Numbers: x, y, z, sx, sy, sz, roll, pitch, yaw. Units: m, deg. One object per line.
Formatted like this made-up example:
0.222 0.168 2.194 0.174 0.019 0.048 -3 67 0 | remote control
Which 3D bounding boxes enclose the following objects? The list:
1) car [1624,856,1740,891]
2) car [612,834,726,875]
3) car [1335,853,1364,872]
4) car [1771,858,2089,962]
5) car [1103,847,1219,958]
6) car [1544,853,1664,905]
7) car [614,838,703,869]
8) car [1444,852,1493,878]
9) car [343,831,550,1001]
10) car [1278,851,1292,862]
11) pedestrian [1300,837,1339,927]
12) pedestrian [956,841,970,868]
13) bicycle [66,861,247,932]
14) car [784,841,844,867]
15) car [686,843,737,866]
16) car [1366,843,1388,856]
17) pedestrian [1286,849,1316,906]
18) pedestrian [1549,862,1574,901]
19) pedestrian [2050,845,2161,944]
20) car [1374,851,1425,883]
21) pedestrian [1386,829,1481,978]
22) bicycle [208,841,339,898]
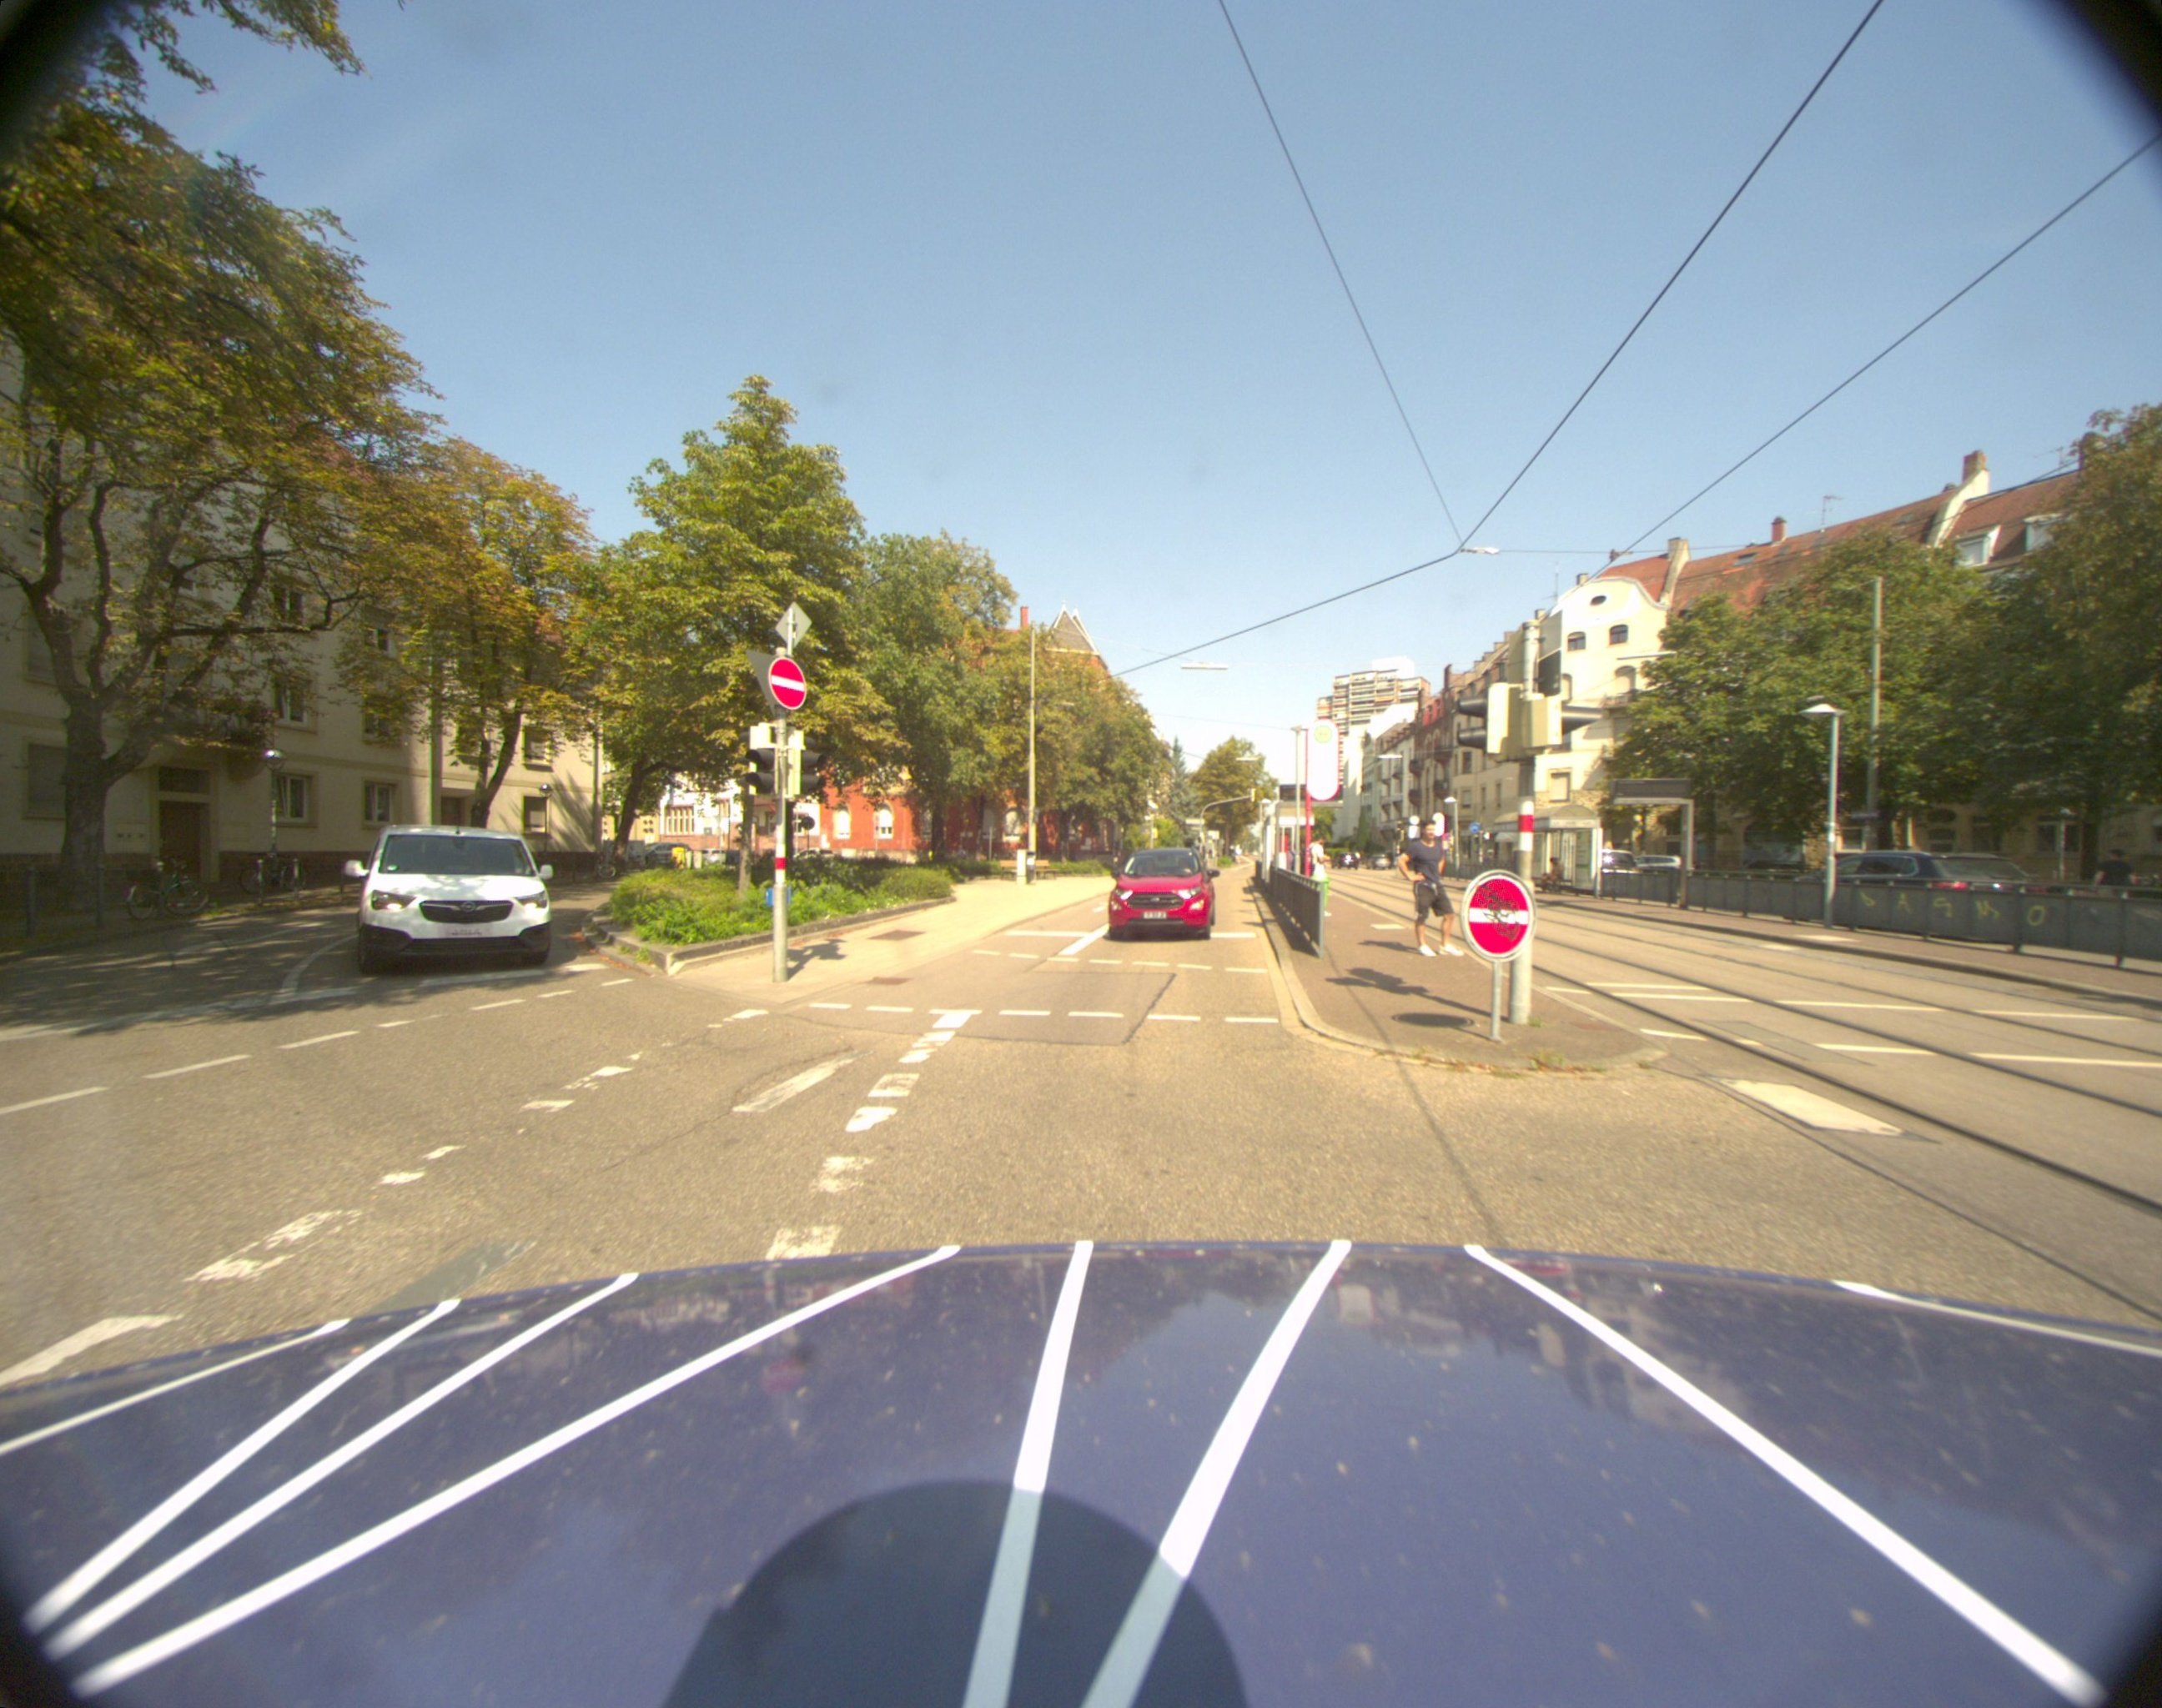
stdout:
33.288 1.045 42.224 2.004 1.716 4.617 1 1 -35 | car
-19.615 0.031 36.303 1.798 1.801 4.426 3 2 43 | car
25.579 0.799 72.643 1.996 1.716 4.635 2 1 12 | car
16.594 0.965 15.317 1.996 1.638 4.636 2 1 15 | car
1.685 0.773 14.581 1.801 1.801 4.420 0 0 11 | car
19.399 0.850 28.468 1.996 1.716 4.635 2 1 12 | car
-25.763 -0.042 46.481 1.799 1.801 4.425 1 1 38 | car
27.773 0.770 54.578 1.996 1.716 4.635 2 1 12 | car
-8.683 0.631 10.259 1.808 1.801 4.403 0 1 -44 | car
33.275 0.361 123.893 1.996 1.716 4.635 2 1 12 | car
5.129 0.573 16.387 0.674 1.874 0.923 1 1 11 | pedestrian
-8.403 0.042 54.092 0.676 1.874 0.920 0 1 -29 | pedestrian
-16.752 0.729 13.890 0.811 1.119 2.266 3 0 -11 | bicycle
-19.221 -0.004 54.662 4.403 1.801 1.808 1 1 35 | car
-29.916 0.021 61.422 4.403 1.801 1.808 1 1 35 | car
38.792 -0.596 99.630 1.996 1.716 4.635 2 1 12 | car
6.301 0.656 21.775 0.738 1.575 0.854 1 1 11 | pedestrian
15.731 0.896 24.888 0.479 1.243 0.649 1 1 13 | pedestrian
21.589 0.814 15.962 1.093 2.002 1.037 -1 1 11 | pedestrian
19.180 0.728 45.940 1.996 1.716 4.635 2 1 13 | car
4.652 0.621 10.049 0.924 1.874 0.674 0 1 -24 | pedestrian
-21.124 0.366 19.980 0.891 1.401 2.353 -1 1 -1 | bicycle
